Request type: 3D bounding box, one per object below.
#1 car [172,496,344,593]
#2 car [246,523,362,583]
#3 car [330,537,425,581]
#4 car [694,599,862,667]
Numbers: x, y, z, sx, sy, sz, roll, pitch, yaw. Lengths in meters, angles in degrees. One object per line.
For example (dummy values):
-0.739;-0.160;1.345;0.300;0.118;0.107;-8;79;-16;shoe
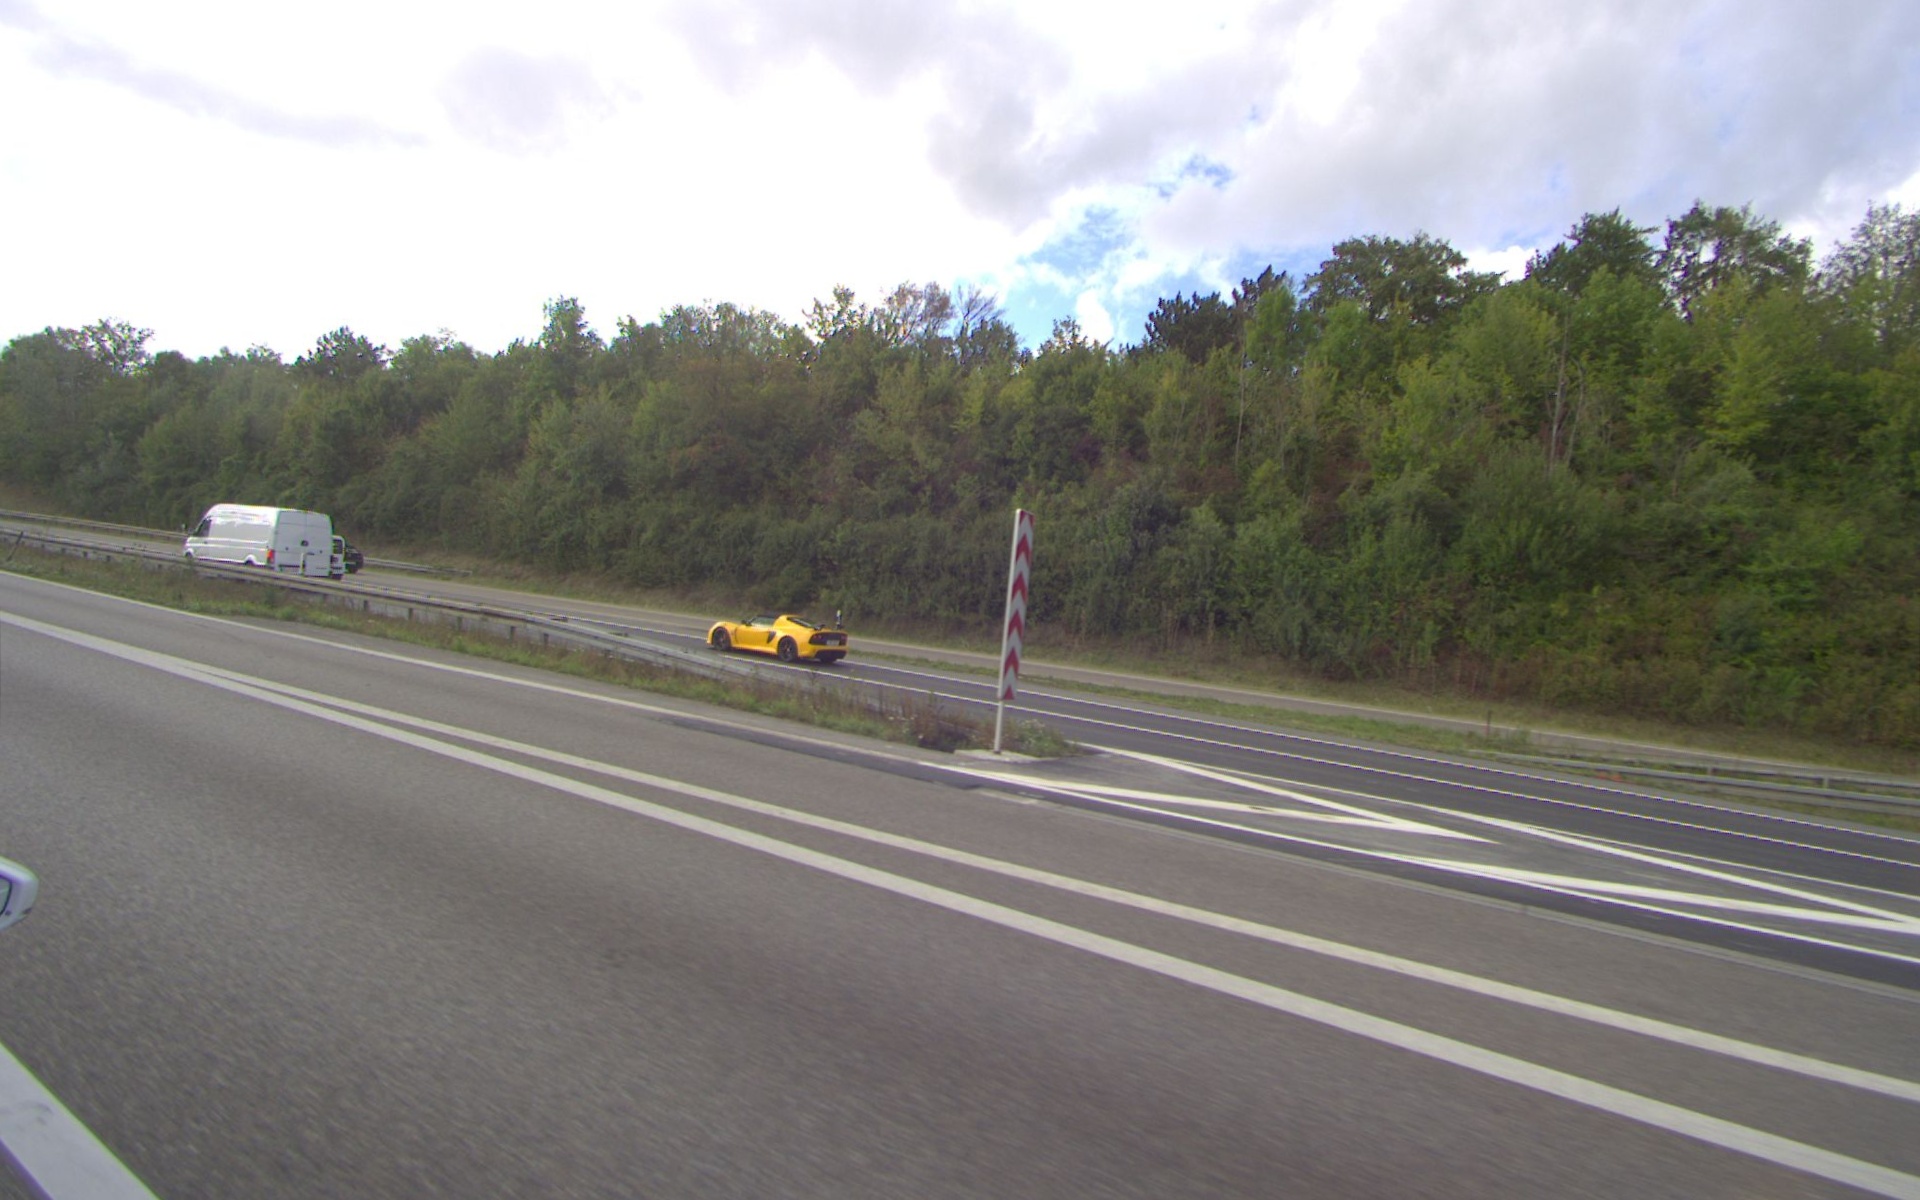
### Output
-23.577;-1.896;33.683;6.630;2.586;2.072;7;0;31;car
-25.645;-1.841;39.282;4.685;1.772;1.846;6;-1;32;car
-28.042;-1.996;48.401;4.684;1.623;1.845;6;1;31;car
-4.760;0.856;26.191;4.099;1.195;1.715;6;-2;31;car
